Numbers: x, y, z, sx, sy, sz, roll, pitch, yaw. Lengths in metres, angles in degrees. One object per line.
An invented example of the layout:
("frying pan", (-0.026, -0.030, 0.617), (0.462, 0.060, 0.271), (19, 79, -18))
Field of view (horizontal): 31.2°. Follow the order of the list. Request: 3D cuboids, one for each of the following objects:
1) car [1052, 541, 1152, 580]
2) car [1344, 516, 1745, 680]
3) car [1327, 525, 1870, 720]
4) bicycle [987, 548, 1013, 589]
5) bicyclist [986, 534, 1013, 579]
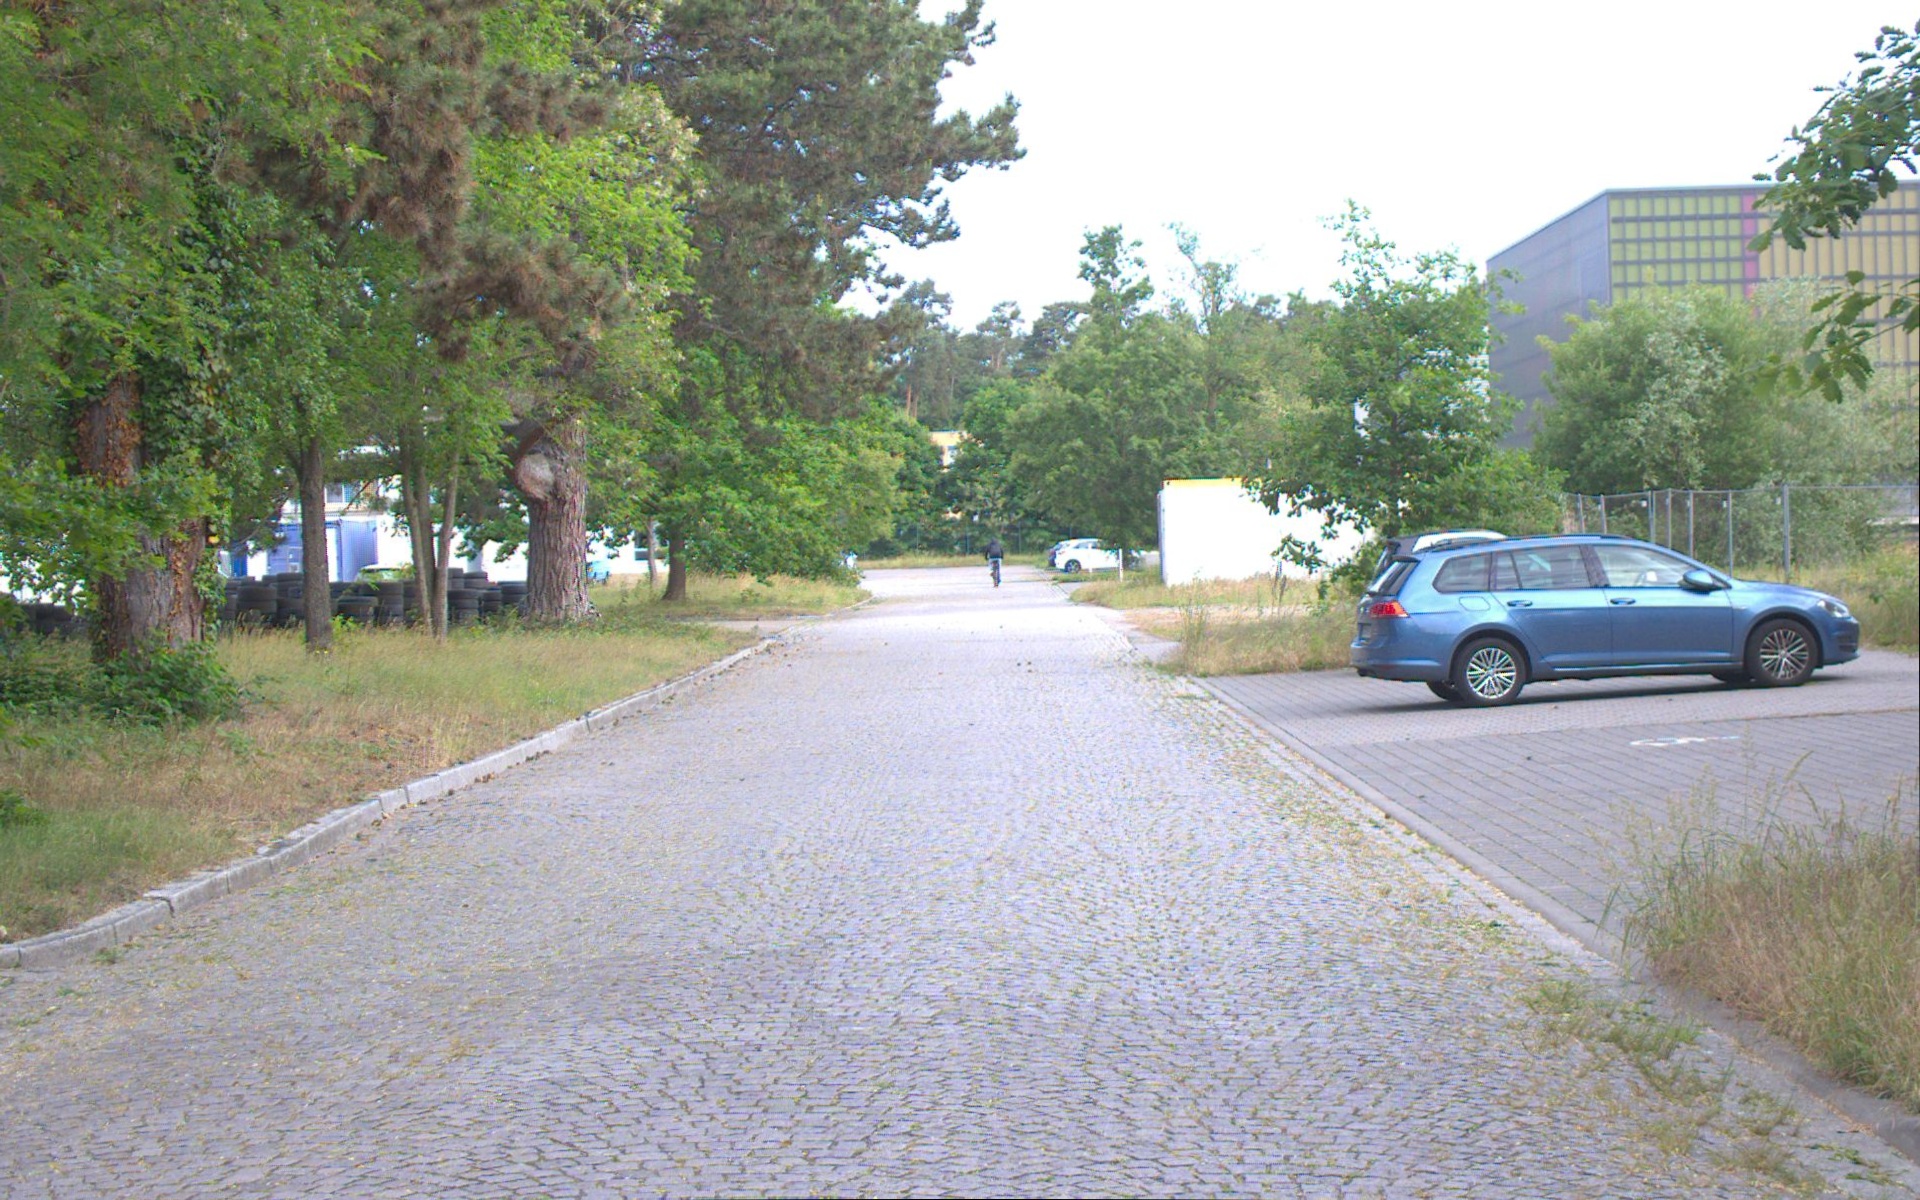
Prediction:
("car", (6.219, -1.745, 151.155), (4.322, 1.544, 2.000), (-2, 1, 2))
("car", (6.549, -0.038, 38.781), (4.107, 1.567, 1.765), (-3, 1, -2))
("car", (5.753, 0.181, 31.340), (4.480, 1.457, 1.935), (-3, 1, -2))
("bicycle", (1.415, -1.126, 122.321), (0.823, 1.372, 2.043), (-1, 2, -1))
("bicyclist", (1.409, -1.549, 122.325), (0.897, 1.537, 0.868), (-1, 2, 0))
